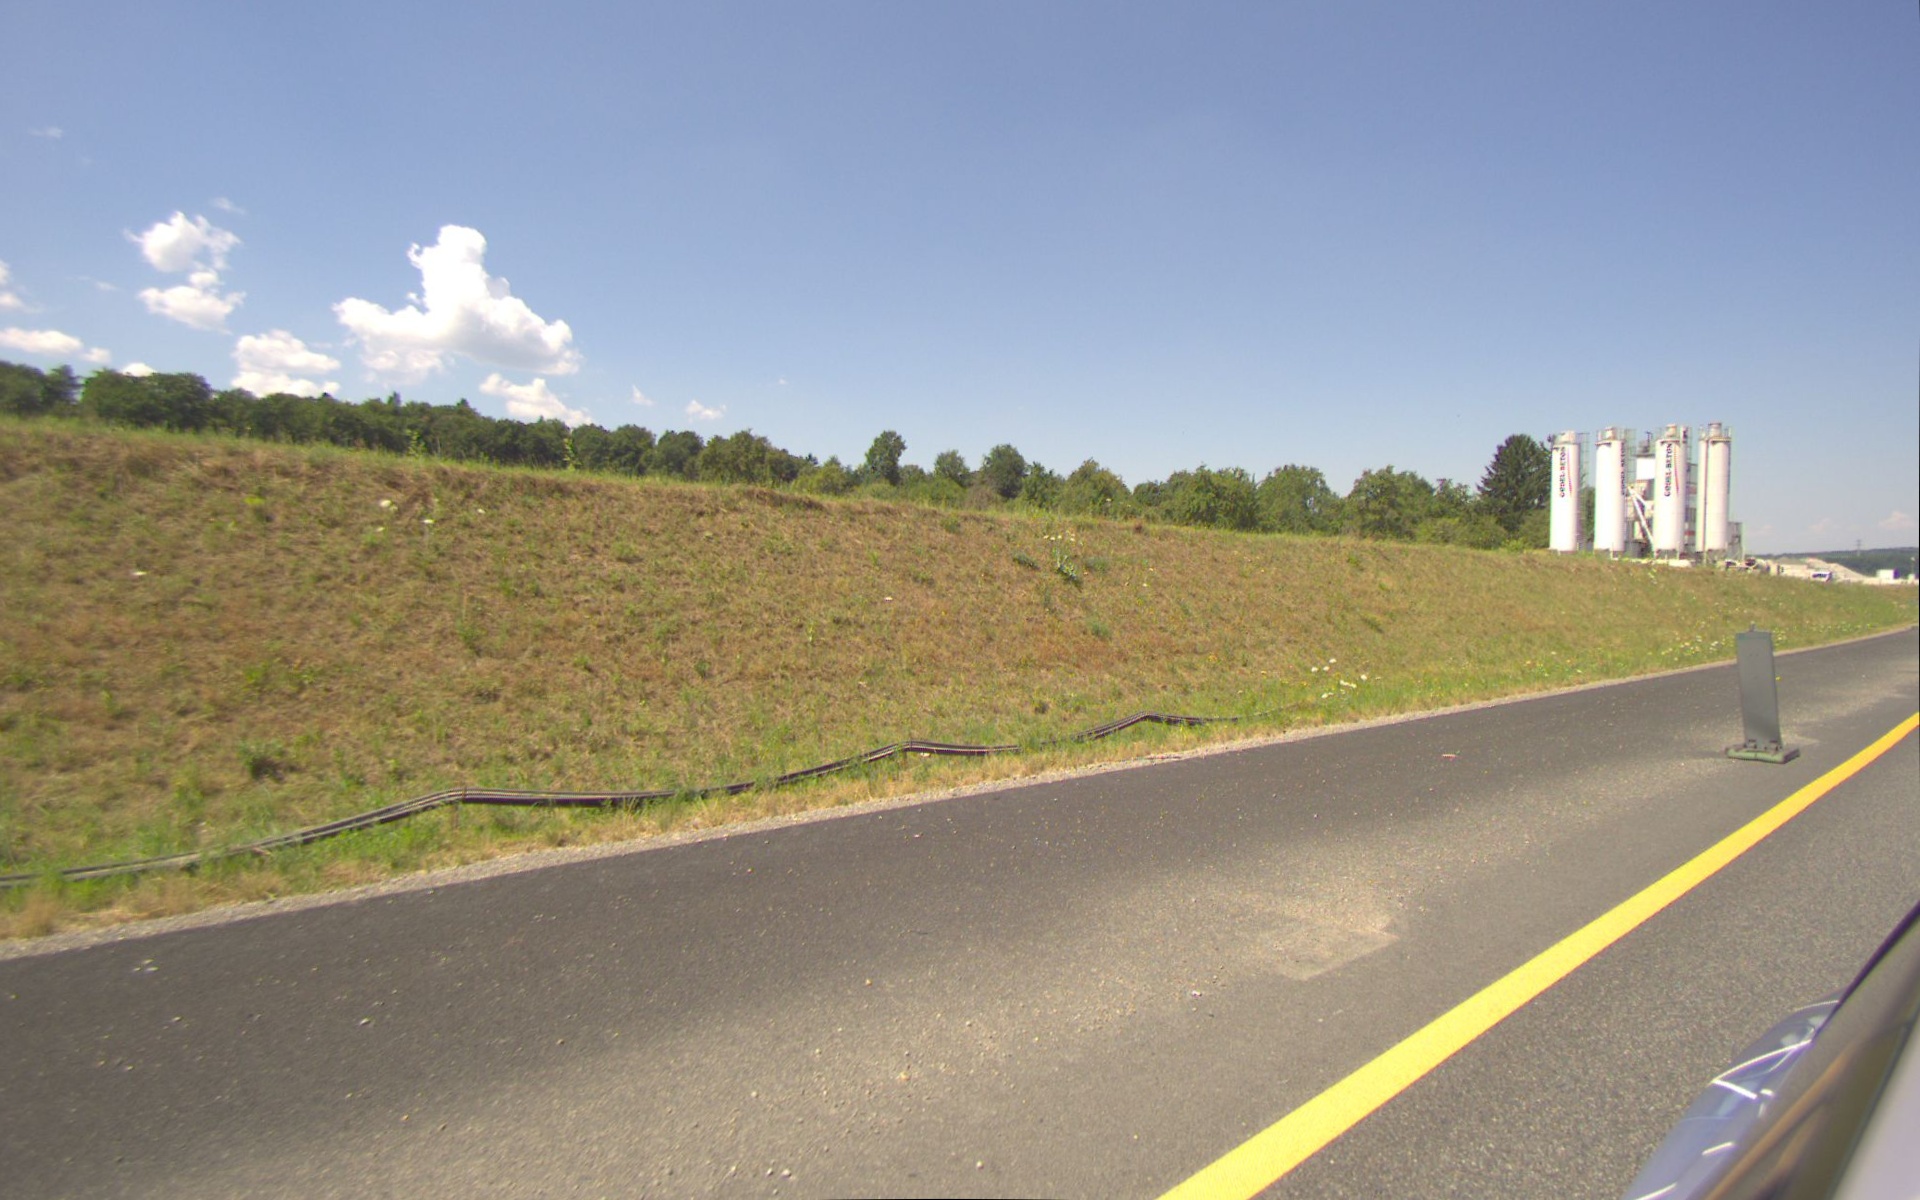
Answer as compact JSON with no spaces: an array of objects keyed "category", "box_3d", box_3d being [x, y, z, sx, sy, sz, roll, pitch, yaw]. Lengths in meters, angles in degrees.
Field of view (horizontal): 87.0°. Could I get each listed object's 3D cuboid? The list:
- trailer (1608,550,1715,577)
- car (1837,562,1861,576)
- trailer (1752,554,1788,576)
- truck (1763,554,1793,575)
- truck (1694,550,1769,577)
[{"category":"trailer","box_3d":[73.139,-3.765,105.662,2.424,2.639,8.902,-1,2,-44]},{"category":"car","box_3d":[121.904,-4.251,138.752,3.540,1.784,1.989,-1,1,-41]},{"category":"trailer","box_3d":[100.519,-4.358,125.583,6.809,2.677,1.998,-1,0,-38]},{"category":"truck","box_3d":[103.247,-4.435,127.712,3.967,2.577,2.022,-1,0,-38]},{"category":"truck","box_3d":[78.016,-3.661,102.461,5.228,2.576,2.894,-1,0,13]}]
